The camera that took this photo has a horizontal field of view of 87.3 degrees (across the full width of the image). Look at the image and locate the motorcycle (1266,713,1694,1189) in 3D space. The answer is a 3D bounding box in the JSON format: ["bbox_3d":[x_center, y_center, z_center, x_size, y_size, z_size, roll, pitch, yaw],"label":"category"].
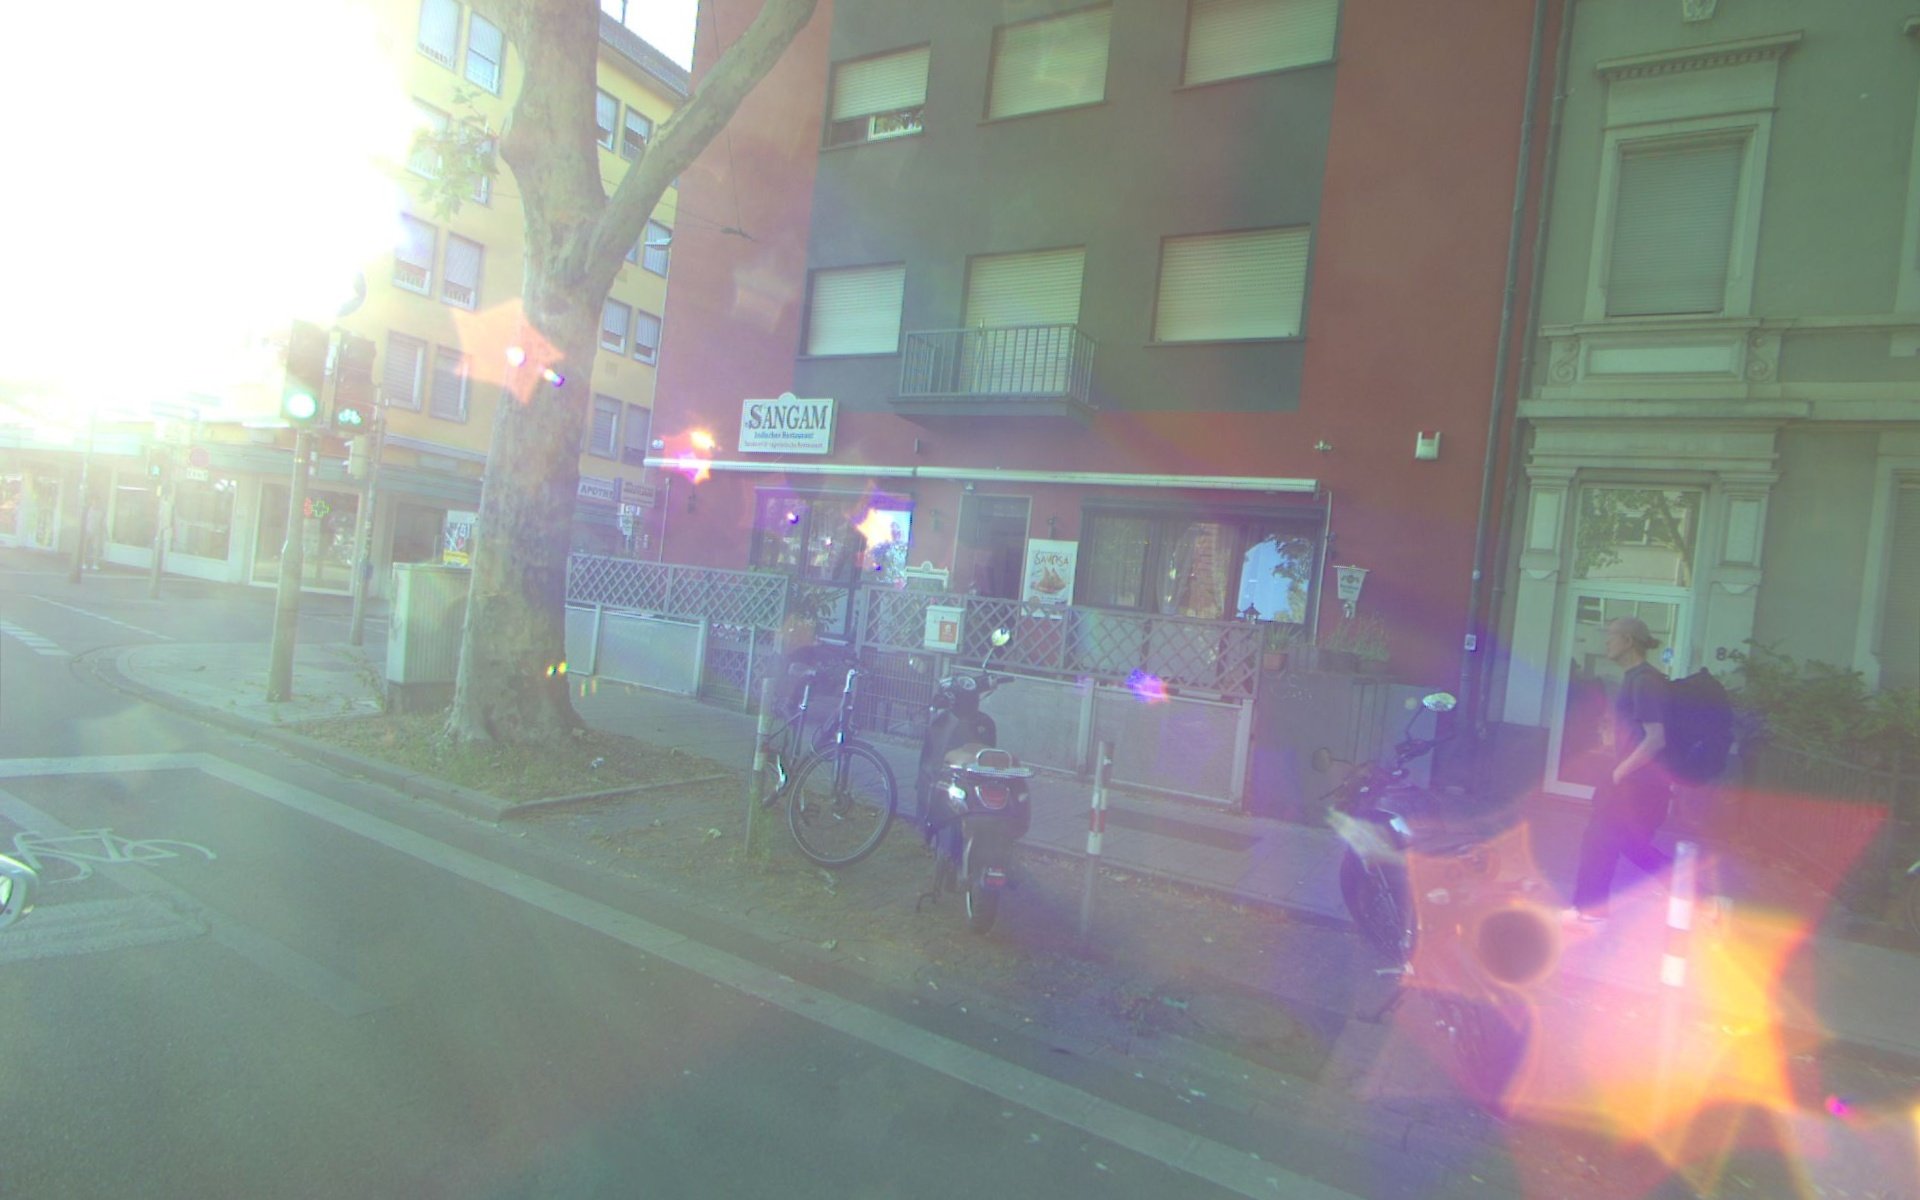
[{"bbox_3d":[1.945,1.219,4.236,0.651,1.125,2.212,7,2,4],"label":"motorcycle"}]

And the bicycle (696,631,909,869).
[{"bbox_3d":[-1.077,0.880,6.464,0.614,1.126,1.784,5,3,-31],"label":"bicycle"}]

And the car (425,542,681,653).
[{"bbox_3d":[-7.754,0.037,19.593,1.743,1.707,4.347,6,0,30],"label":"car"}]

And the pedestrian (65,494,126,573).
[{"bbox_3d":[-21.007,-1.613,24.448,0.880,1.801,0.744,6,0,31],"label":"pedestrian"}]

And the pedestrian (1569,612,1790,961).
[{"bbox_3d":[3.993,0.973,5.666,0.802,1.734,0.726,6,3,31],"label":"pedestrian"}]

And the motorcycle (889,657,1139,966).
[{"bbox_3d":[0.178,0.996,5.344,0.772,1.126,1.885,6,2,-11],"label":"motorcycle"}]

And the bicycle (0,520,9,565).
[{"bbox_3d":[-22.777,-1.382,22.713,0.531,1.021,1.800,6,1,28],"label":"bicycle"}]

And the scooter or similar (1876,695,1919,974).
[{"bbox_3d":[6.420,1.397,5.038,2.502,1.488,0.665,6,0,32],"label":"scooter or similar"}]
